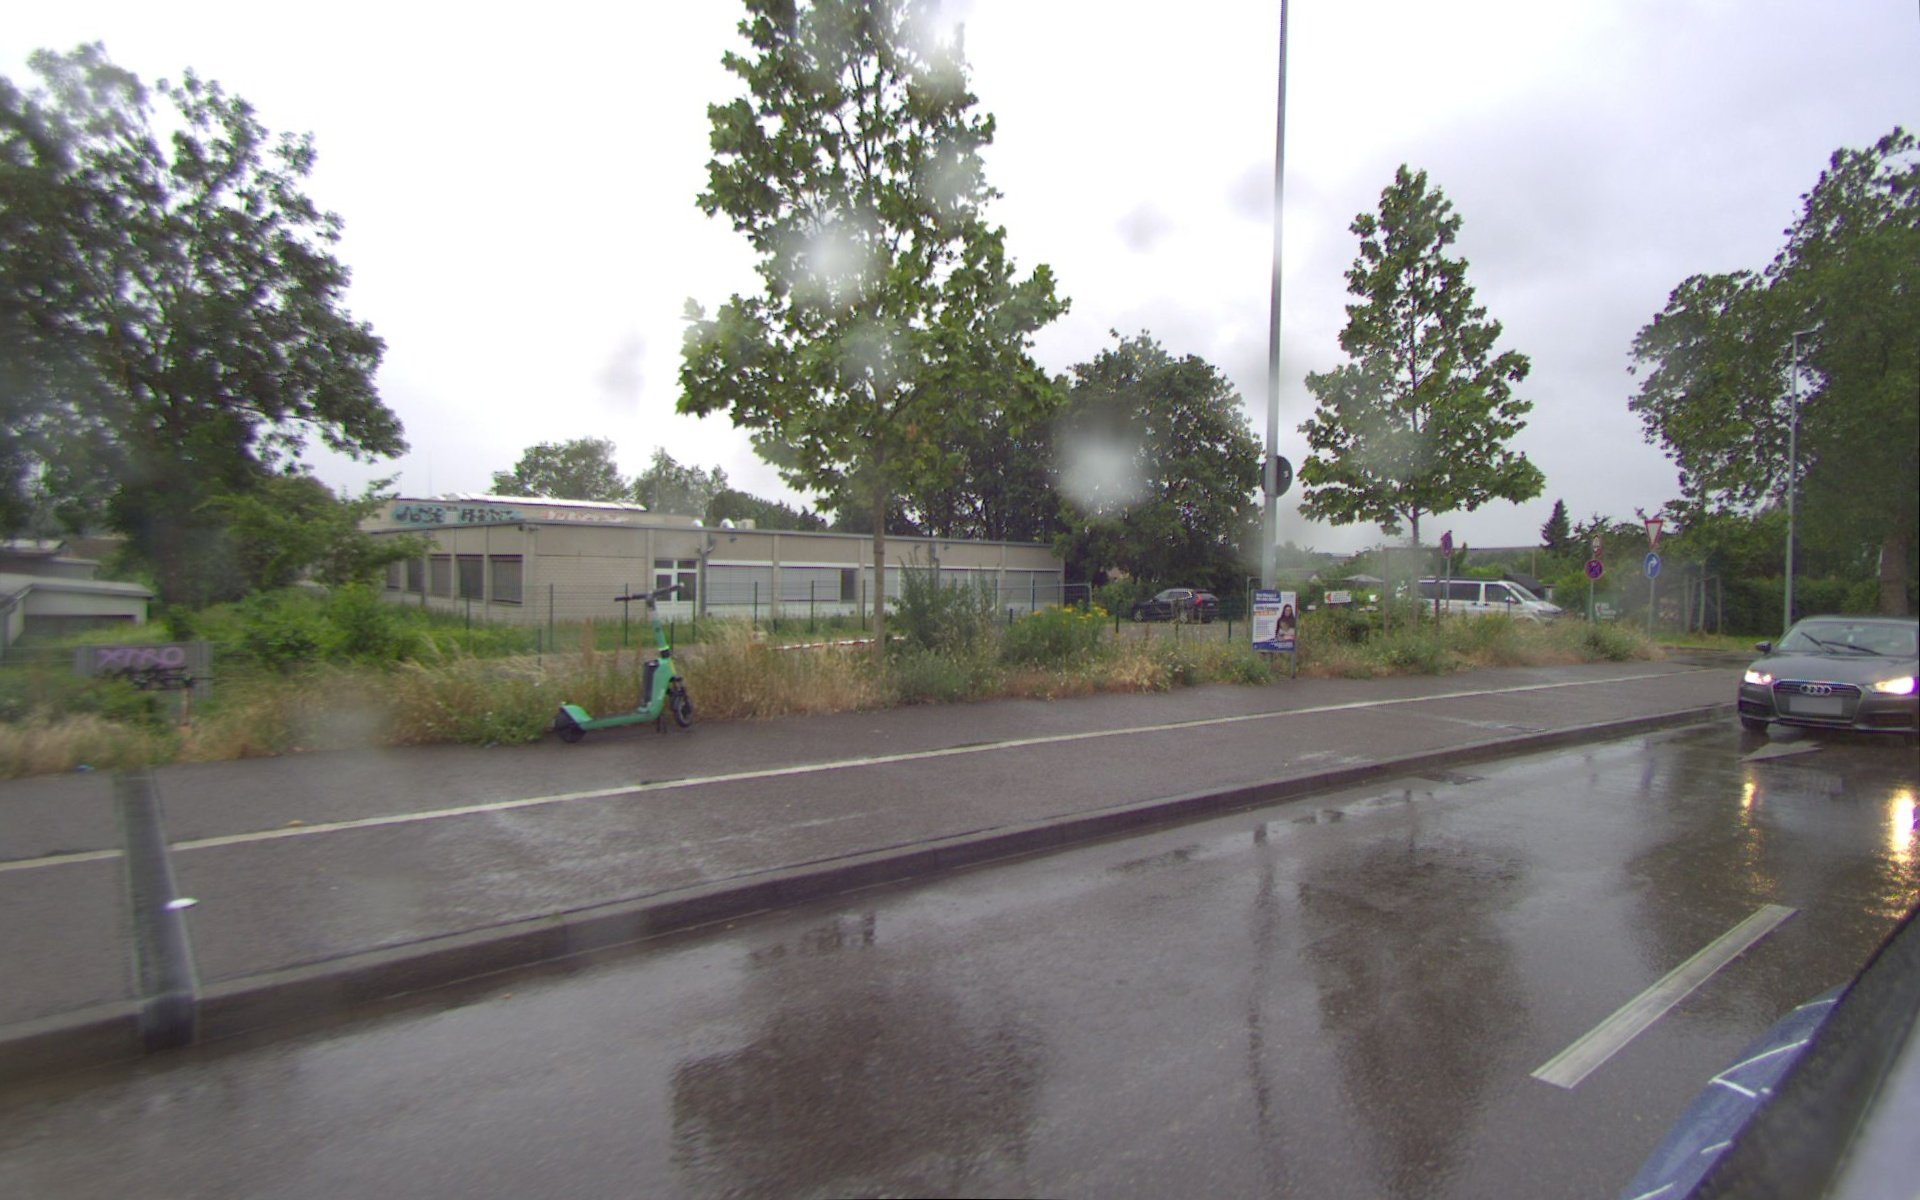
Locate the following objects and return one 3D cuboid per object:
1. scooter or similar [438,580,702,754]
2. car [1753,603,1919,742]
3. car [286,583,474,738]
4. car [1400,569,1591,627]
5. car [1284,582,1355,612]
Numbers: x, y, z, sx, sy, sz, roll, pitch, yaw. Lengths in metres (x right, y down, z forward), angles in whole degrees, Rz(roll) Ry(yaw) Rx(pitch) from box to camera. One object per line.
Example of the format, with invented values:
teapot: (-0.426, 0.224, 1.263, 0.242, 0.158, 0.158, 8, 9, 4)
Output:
scooter or similar: (-2.952, 0.458, 7.803, 1.878, 1.214, 0.367, 0, 1, -38)
car: (10.968, 0.770, 12.045, 3.564, 1.383, 1.601, 1, 2, -39)
car: (-5.961, 0.499, 10.253, 1.320, 1.304, 3.246, 0, 0, -36)
car: (17.439, -0.080, 33.175, 1.973, 1.747, 5.167, 0, 0, -42)
car: (19.772, -0.183, 55.755, 1.320, 1.604, 3.555, 0, 0, -36)
